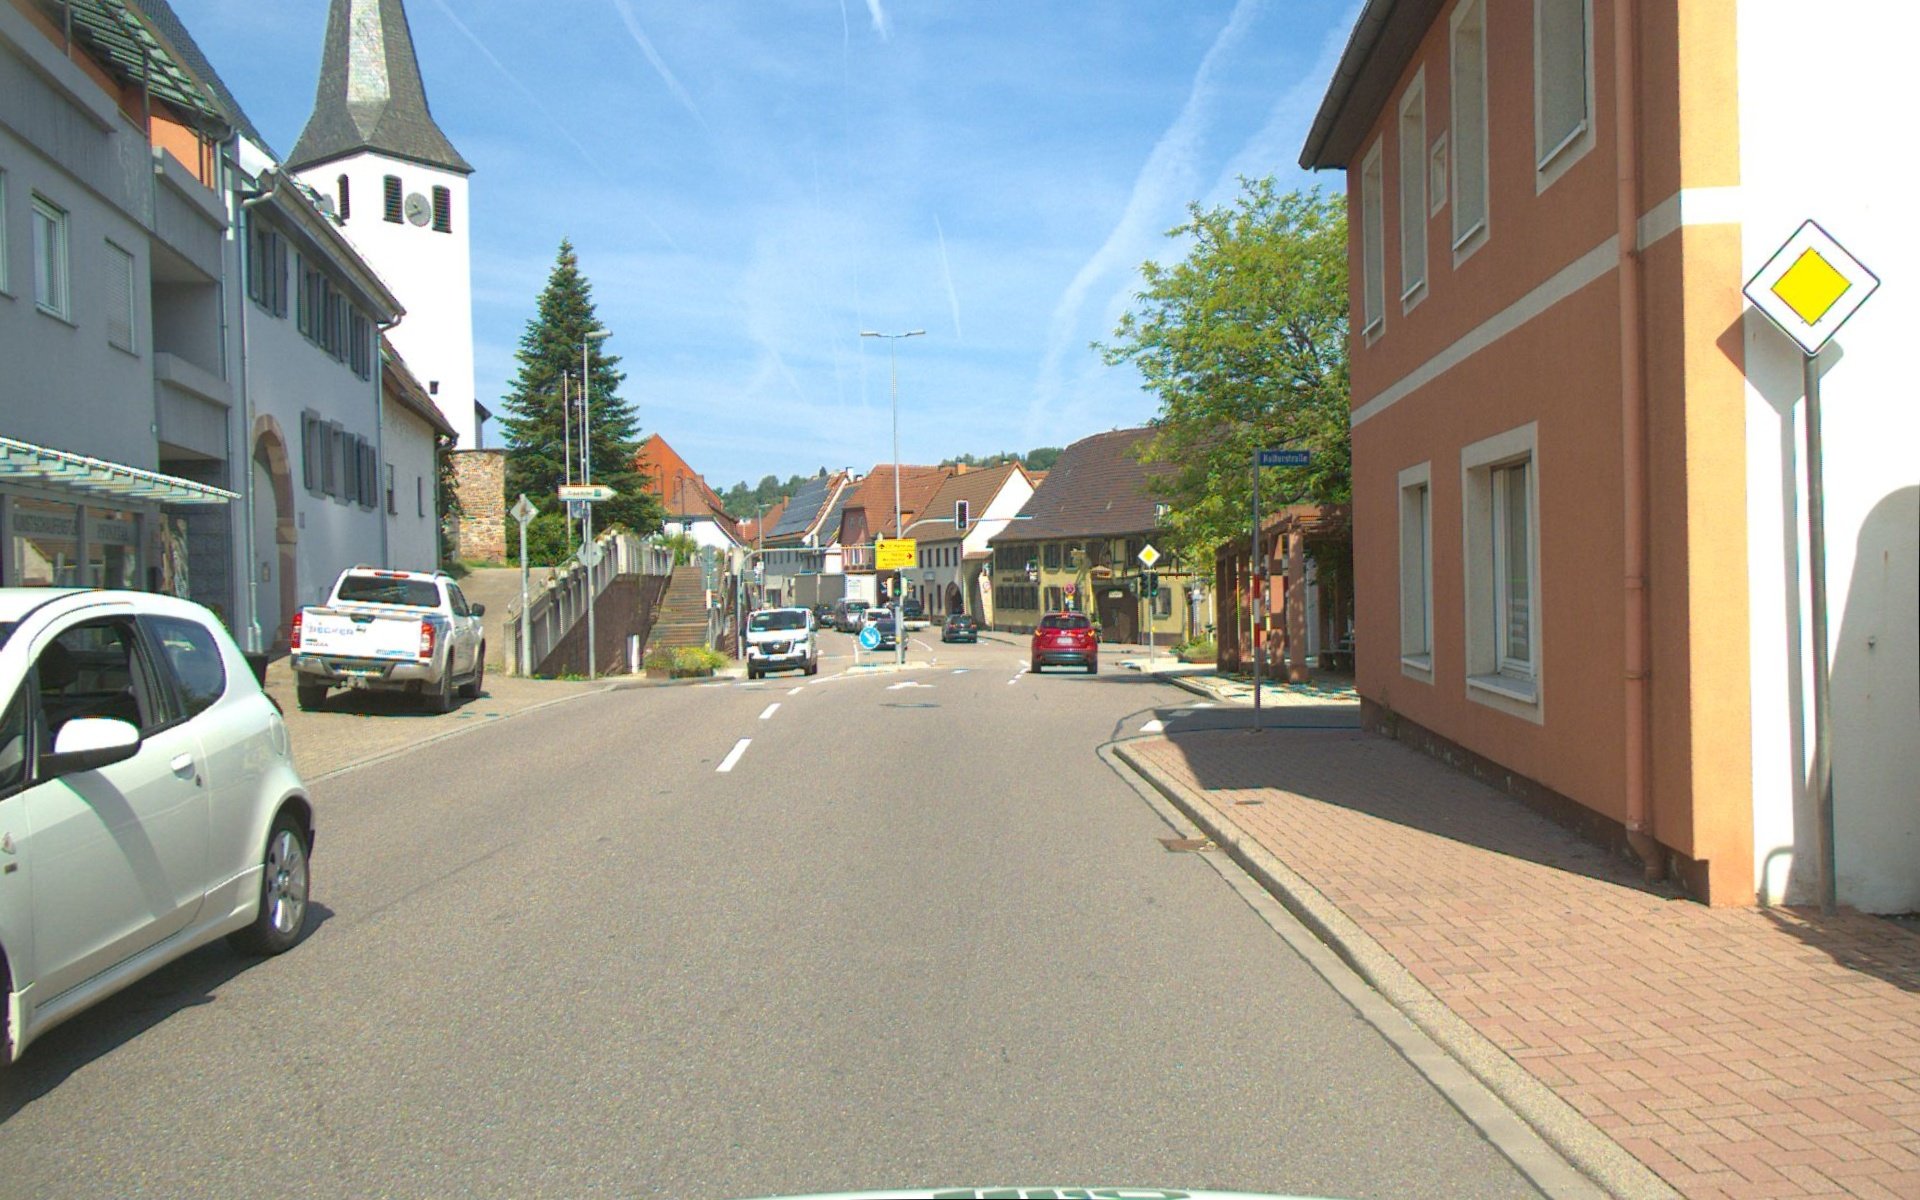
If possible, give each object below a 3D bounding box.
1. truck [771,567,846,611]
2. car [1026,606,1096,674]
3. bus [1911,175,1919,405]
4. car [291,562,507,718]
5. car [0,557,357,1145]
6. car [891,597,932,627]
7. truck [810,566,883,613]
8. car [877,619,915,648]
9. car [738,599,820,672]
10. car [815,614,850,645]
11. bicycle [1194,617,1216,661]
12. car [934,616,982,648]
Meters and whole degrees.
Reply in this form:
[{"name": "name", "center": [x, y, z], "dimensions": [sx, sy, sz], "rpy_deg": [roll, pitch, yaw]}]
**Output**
[{"name": "truck", "center": [-13.069, -0.878, 141.703], "dimensions": [3.118, 3.521, 10.632], "rpy_deg": [2, -1, -24]}, {"name": "car", "center": [2.855, 1.078, 46.021], "dimensions": [1.766, 1.692, 3.815], "rpy_deg": [-2, 1, 6]}, {"name": "bus", "center": [6.858, -0.263, 5.090], "dimensions": [6.428, 2.956, 2.230], "rpy_deg": [-2, -1, 3]}, {"name": "car", "center": [-7.524, 0.467, 22.720], "dimensions": [1.771, 1.829, 5.276], "rpy_deg": [2, 0, -8]}, {"name": "car", "center": [-3.466, 0.684, 5.393], "dimensions": [1.694, 1.569, 3.810], "rpy_deg": [-2, 1, -2]}, {"name": "car", "center": [-3.457, 0.860, 116.652], "dimensions": [1.817, 2.049, 3.980], "rpy_deg": [1, 0, -18]}, {"name": "truck", "center": [-9.178, -0.830, 132.564], "dimensions": [3.178, 3.611, 9.168], "rpy_deg": [1, 0, -22]}, {"name": "car", "center": [-3.433, 1.770, 88.848], "dimensions": [1.783, 1.459, 4.249], "rpy_deg": [-1, 0, 1]}, {"name": "car", "center": [-5.253, 0.986, 48.700], "dimensions": [1.929, 1.966, 5.312], "rpy_deg": [-2, 0, -2]}, {"name": "car", "center": [-9.771, 2.230, 126.400], "dimensions": [1.730, 2.285, 4.530], "rpy_deg": [1, 0, -17]}, {"name": "bicycle", "center": [7.638, 1.201, 51.584], "dimensions": [0.518, 1.302, 1.993], "rpy_deg": [-4, -1, 7]}, {"name": "car", "center": [-0.139, 1.861, 98.189], "dimensions": [1.791, 1.769, 3.989], "rpy_deg": [-2, 1, -15]}]
